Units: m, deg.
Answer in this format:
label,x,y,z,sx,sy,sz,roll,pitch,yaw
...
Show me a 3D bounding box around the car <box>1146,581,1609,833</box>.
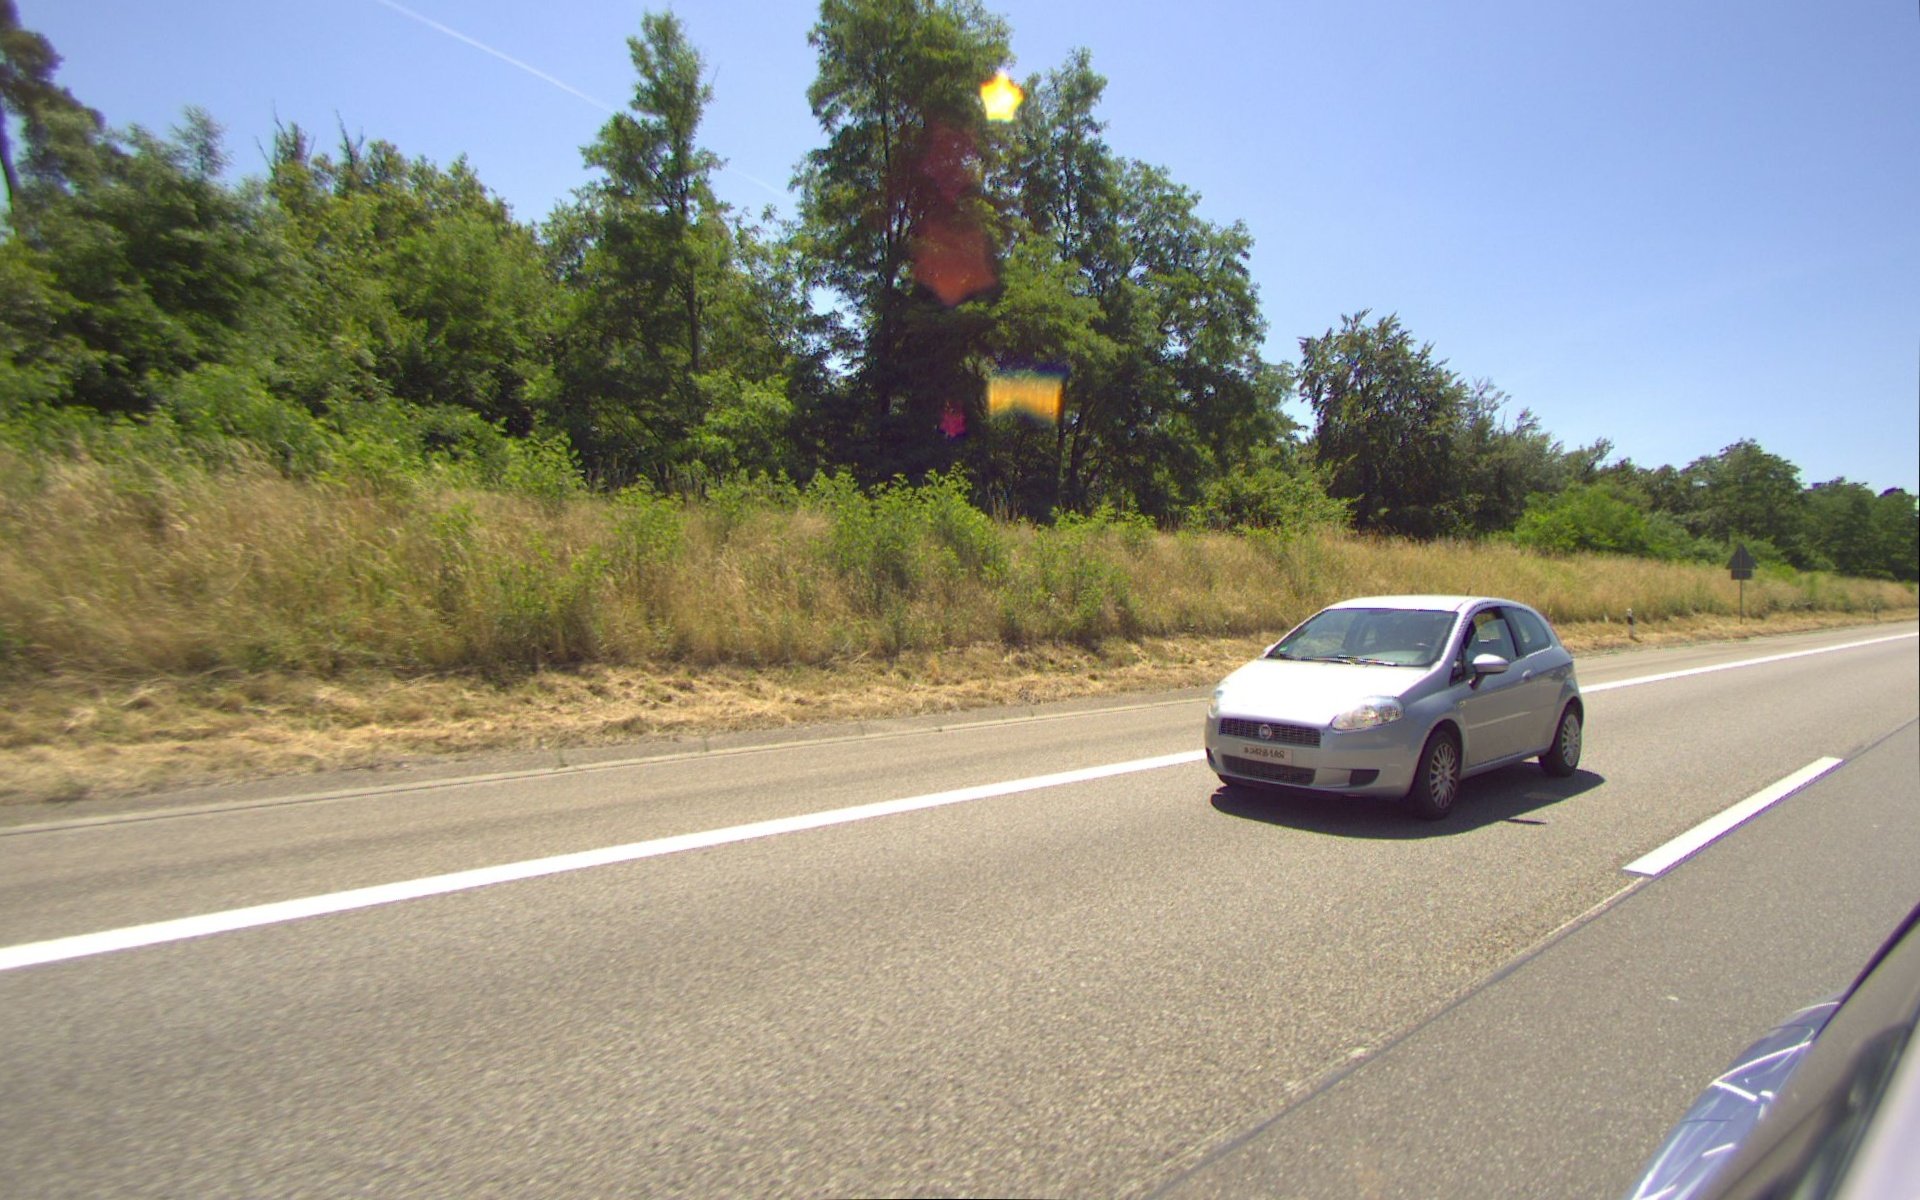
label,x,y,z,sx,sy,sz,roll,pitch,yaw
car,3.395,0.610,7.902,3.910,1.484,1.748,-1,0,-40
